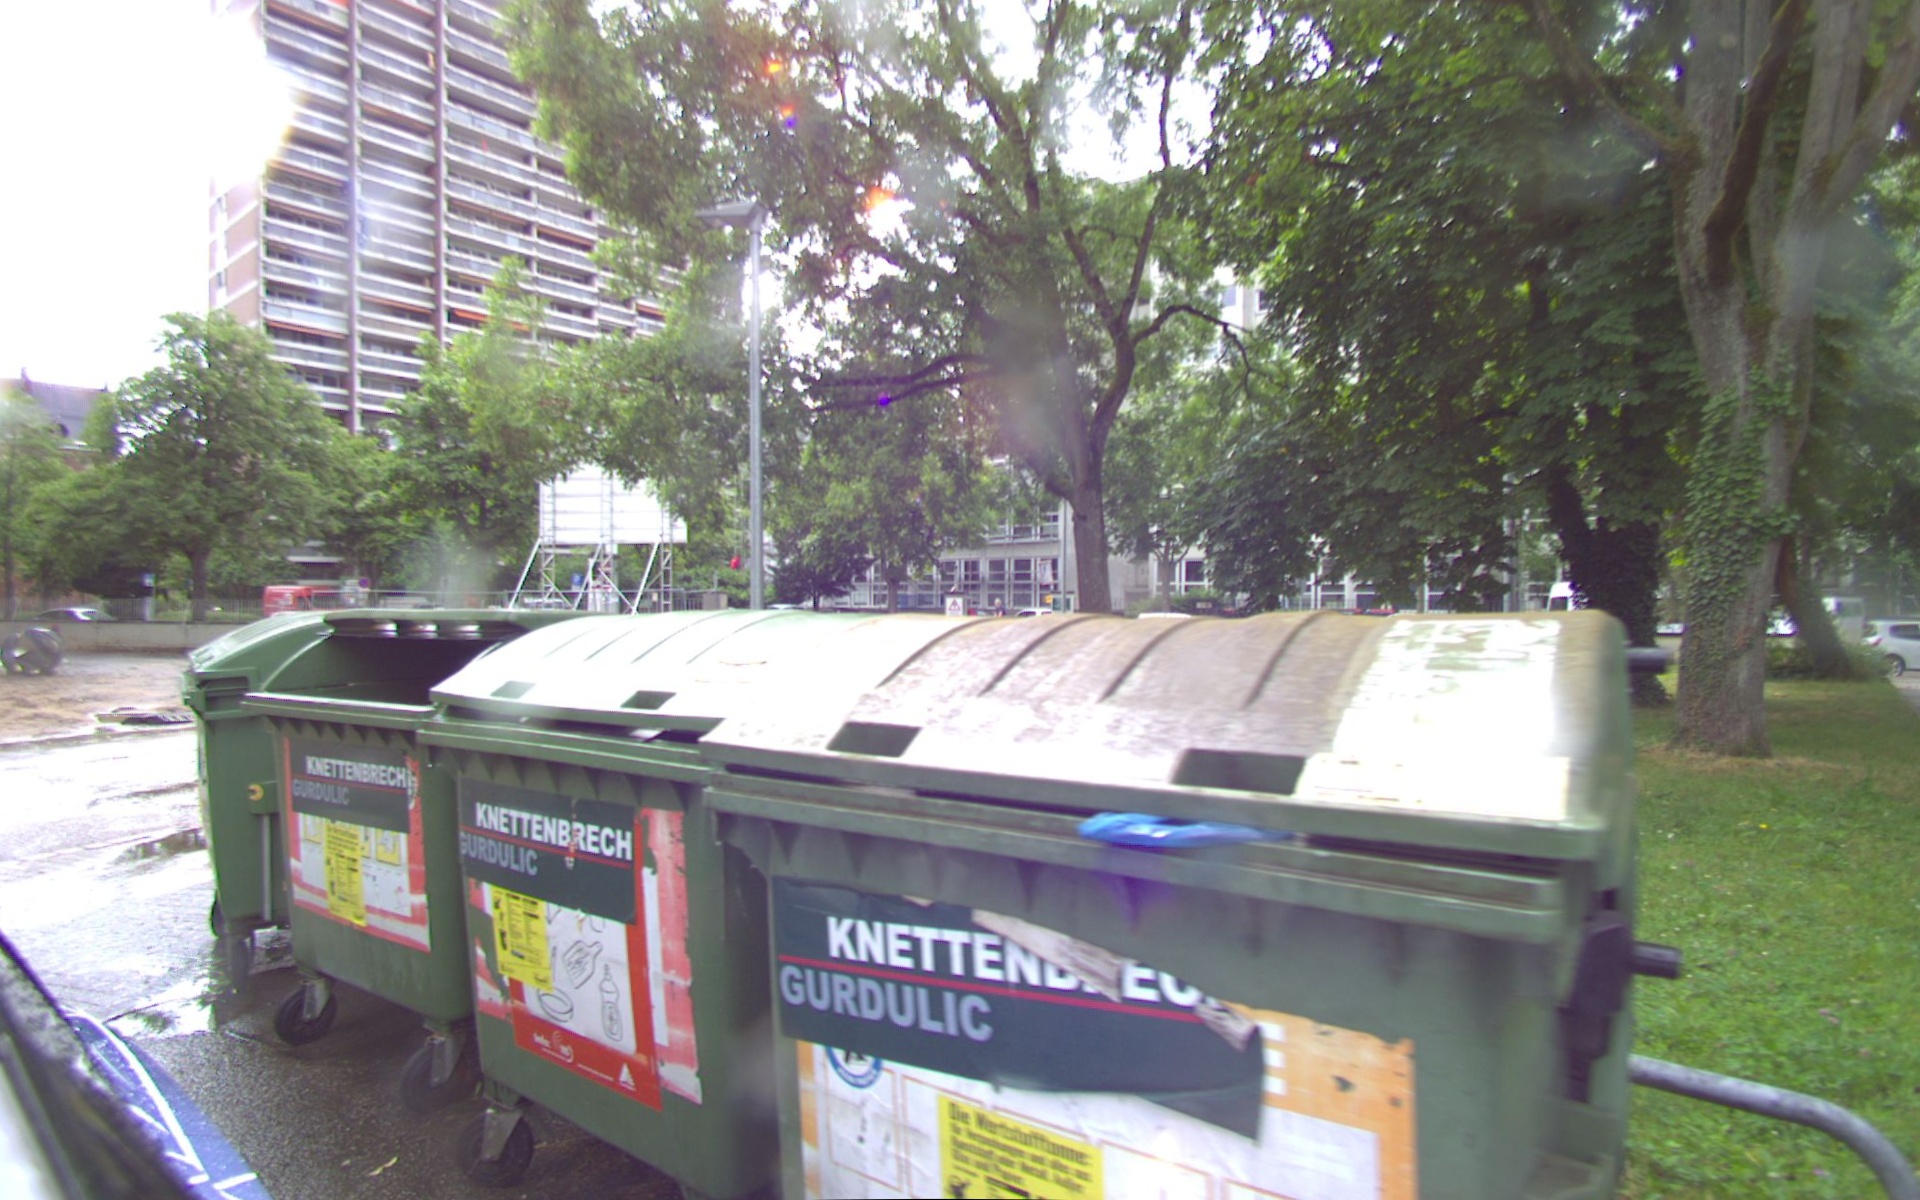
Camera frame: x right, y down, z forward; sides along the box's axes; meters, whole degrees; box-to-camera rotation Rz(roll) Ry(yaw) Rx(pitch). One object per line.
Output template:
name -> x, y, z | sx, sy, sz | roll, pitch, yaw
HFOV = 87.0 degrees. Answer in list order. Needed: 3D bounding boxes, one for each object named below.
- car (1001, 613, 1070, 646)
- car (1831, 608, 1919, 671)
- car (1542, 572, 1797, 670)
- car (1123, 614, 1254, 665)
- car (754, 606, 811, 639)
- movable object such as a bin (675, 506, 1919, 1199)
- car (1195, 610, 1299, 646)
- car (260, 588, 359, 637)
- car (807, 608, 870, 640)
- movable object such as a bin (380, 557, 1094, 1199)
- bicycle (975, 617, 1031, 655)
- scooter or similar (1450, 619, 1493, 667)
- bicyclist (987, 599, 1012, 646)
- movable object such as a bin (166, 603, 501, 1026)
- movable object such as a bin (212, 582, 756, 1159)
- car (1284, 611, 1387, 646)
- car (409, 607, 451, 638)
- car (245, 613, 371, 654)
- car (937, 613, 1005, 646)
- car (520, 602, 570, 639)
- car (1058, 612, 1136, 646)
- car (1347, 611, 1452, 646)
car -> 3.512, 1.336, 47.552 | 1.681, 1.463, 3.419 | 0, 0, -28
car -> 25.084, 1.035, 26.170 | 3.340, 1.562, 1.904 | 0, -2, 16
car -> 19.197, 0.585, 27.694 | 5.221, 2.529, 2.131 | 0, -2, 14
car -> 6.948, 1.190, 30.957 | 3.795, 1.471, 1.683 | 0, -2, 14
car -> -8.887, 1.093, 50.486 | 1.679, 1.563, 3.661 | 0, -1, -30
movable object such as a bin -> 0.508, 0.693, 1.566 | 1.494, 1.494, 1.154 | 0, -2, 36
car -> 12.932, 1.305, 45.835 | 1.846, 1.567, 4.383 | 2, -3, -32
car -> -36.746, 0.680, 57.112 | 5.457, 2.654, 2.281 | 0, -1, 28
car -> -6.003, 1.136, 49.630 | 1.712, 1.480, 3.661 | 0, -1, -31
movable object such as a bin -> -0.561, 0.688, 2.590 | 1.400, 1.494, 1.154 | -1, -1, 37
bicycle -> 1.490, 1.252, 35.087 | 1.836, 1.276, 0.647 | 0, -3, -19
scooter or similar -> 14.494, 1.212, 28.715 | 0.419, 1.286, 1.151 | 2, -1, -12
bicyclist -> 1.352, 0.787, 35.063 | 0.662, 1.630, 0.647 | 0, -3, -19
movable object such as a bin -> -2.831, 0.763, 4.510 | 1.087, 1.484, 1.488 | -1, 0, -39
movable object such as a bin -> -1.636, 0.722, 3.515 | 1.399, 1.494, 1.154 | -2, -1, 34
car -> 16.335, 1.287, 44.190 | 1.791, 1.465, 3.893 | 1, -3, -32
car -> -29.549, 1.233, 56.356 | 1.755, 1.577, 4.058 | 0, 1, -32
car -> -24.914, 1.302, 38.698 | 3.962, 1.482, 1.881 | -1, -2, 15
car -> 0.511, 1.396, 48.763 | 1.712, 1.480, 3.418 | 2, -1, -31
car -> -22.244, 1.080, 54.128 | 1.905, 1.911, 4.659 | 1, -1, -30
car -> 6.355, 1.353, 47.383 | 1.785, 1.492, 3.991 | 0, -2, -24
car -> 19.195, 1.292, 44.356 | 1.747, 1.465, 3.893 | 1, -3, -32
